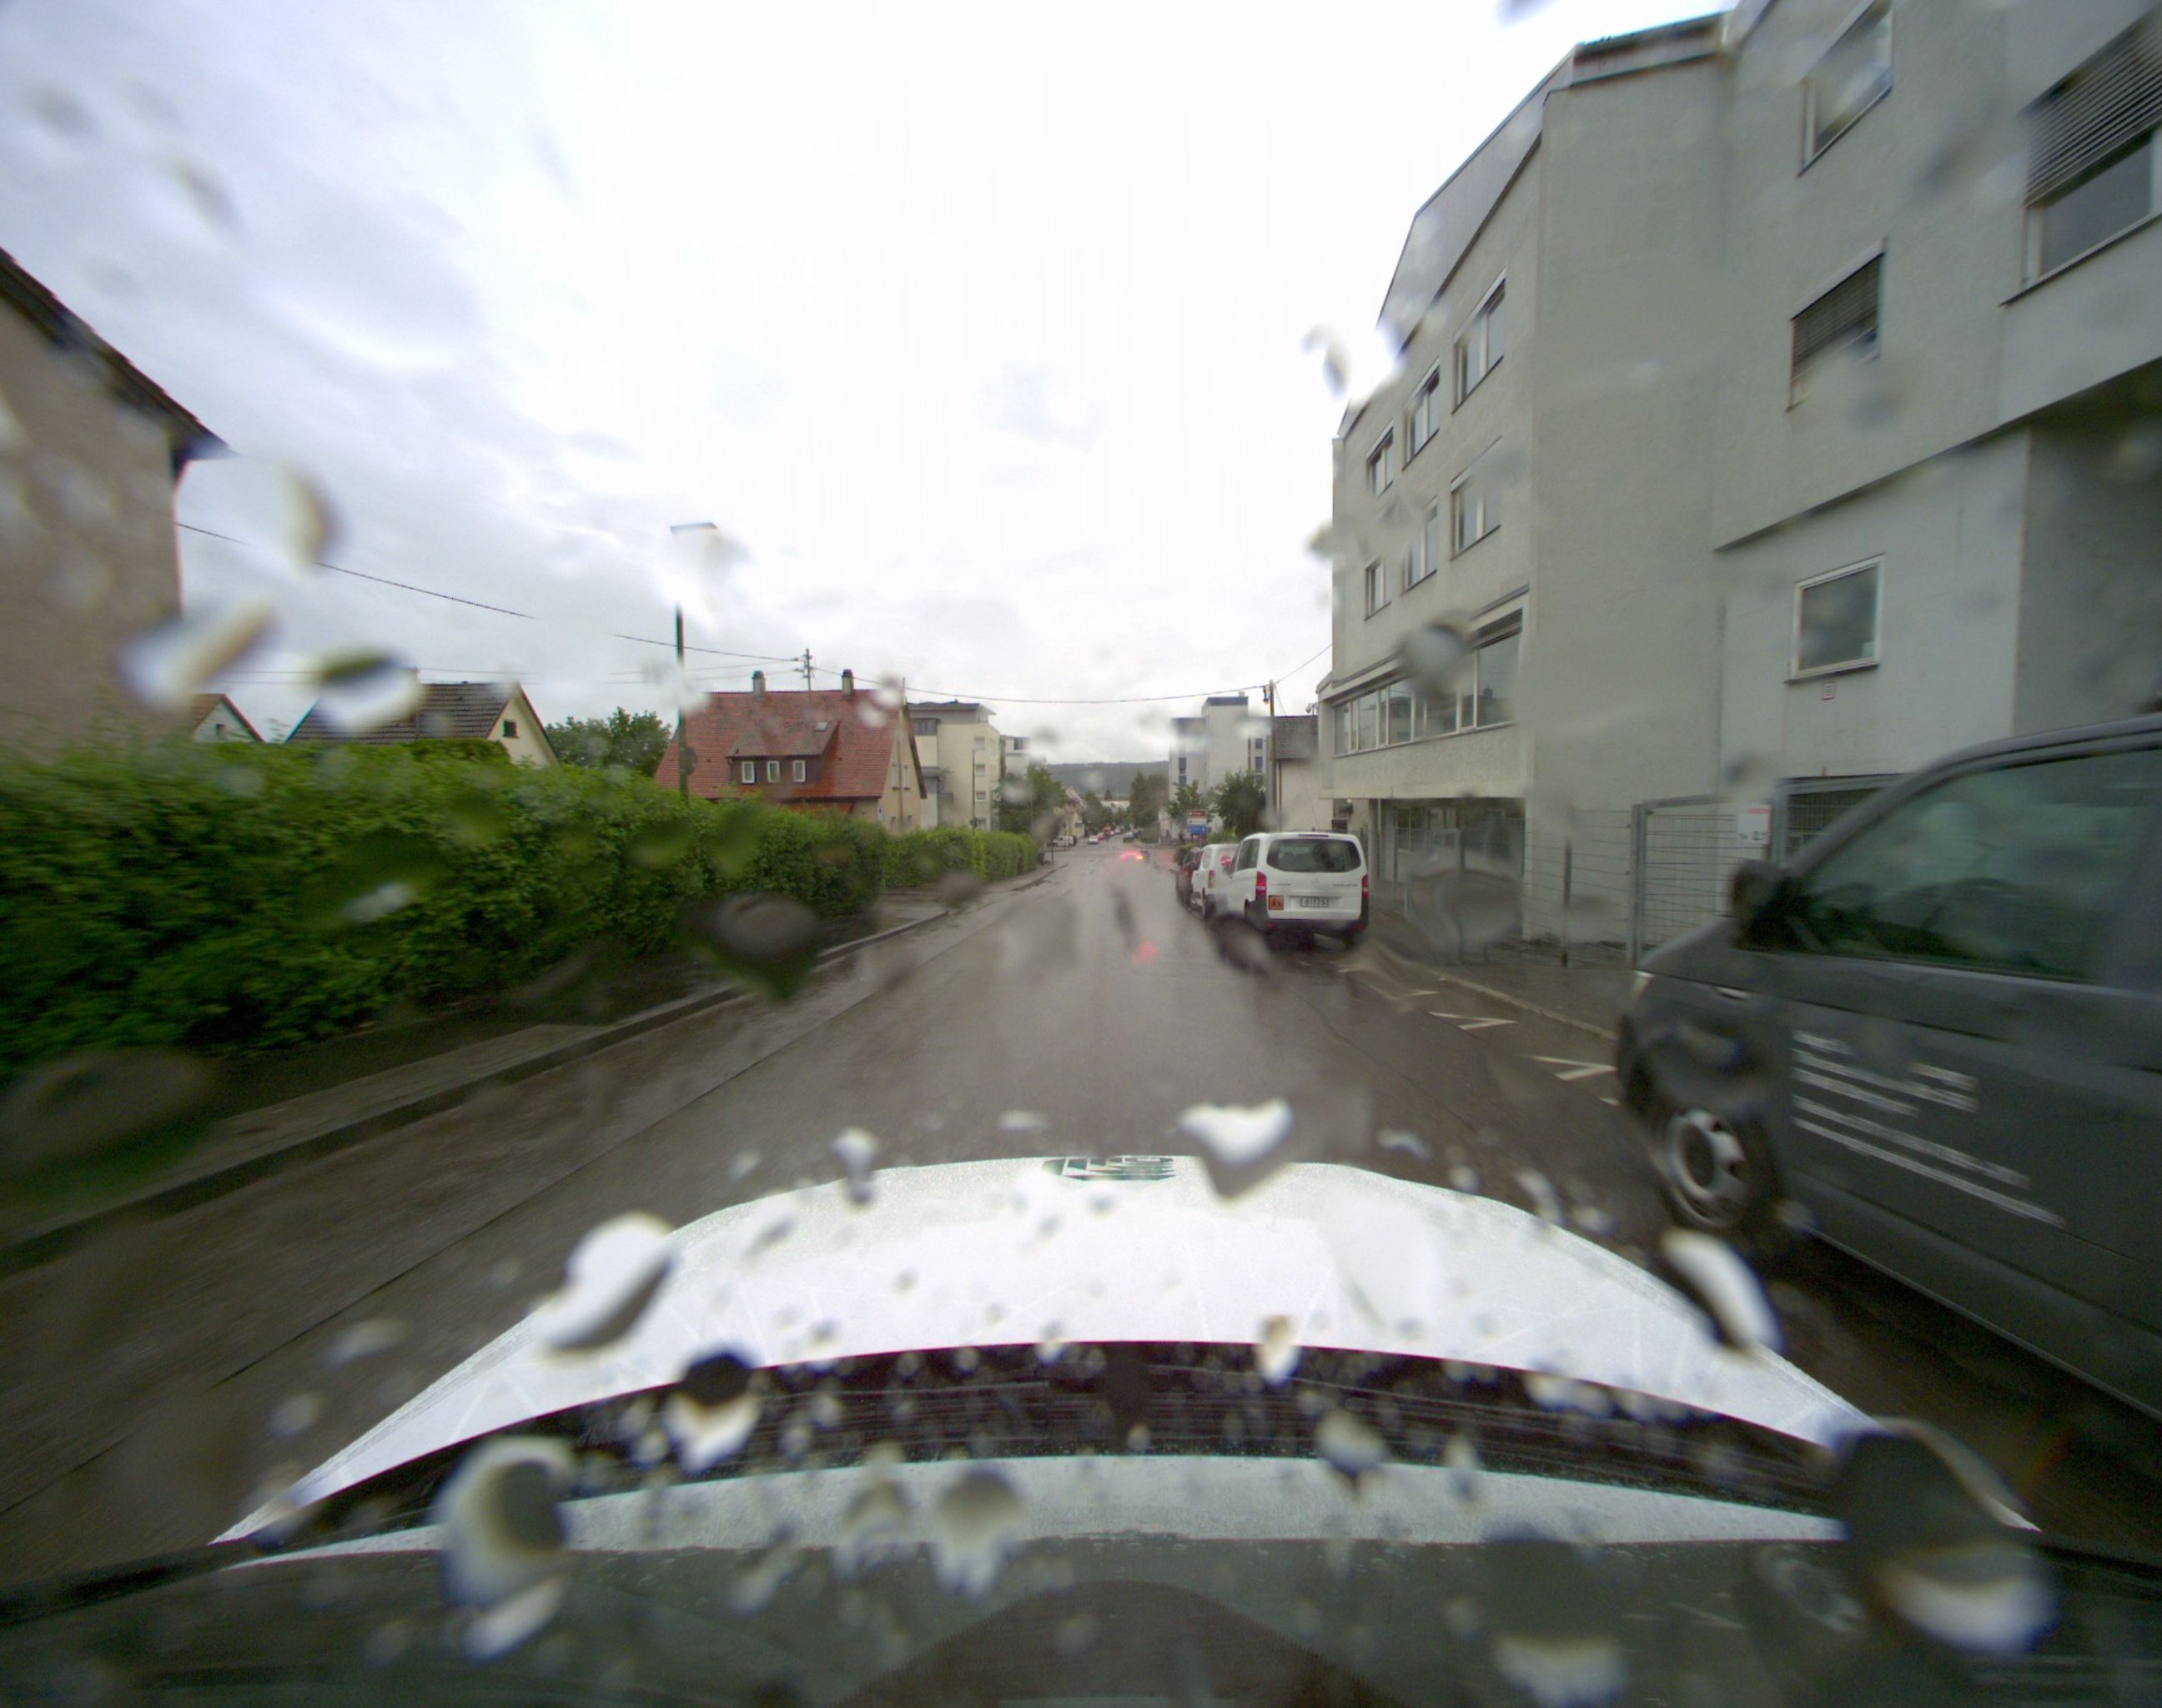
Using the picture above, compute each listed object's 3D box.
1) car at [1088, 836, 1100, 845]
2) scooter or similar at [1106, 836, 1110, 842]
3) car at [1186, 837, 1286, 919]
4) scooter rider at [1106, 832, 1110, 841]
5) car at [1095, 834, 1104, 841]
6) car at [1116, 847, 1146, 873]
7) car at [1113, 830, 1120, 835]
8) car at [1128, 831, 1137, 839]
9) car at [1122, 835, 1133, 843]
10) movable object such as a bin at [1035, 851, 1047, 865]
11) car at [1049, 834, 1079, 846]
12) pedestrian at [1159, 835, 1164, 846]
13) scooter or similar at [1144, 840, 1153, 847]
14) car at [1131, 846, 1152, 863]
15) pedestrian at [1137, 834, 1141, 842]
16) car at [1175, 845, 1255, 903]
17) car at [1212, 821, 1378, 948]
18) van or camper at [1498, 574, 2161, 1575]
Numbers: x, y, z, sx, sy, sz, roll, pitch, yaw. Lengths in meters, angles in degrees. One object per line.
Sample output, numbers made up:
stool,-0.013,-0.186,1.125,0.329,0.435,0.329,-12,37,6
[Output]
car,2.517,-2.685,157.614,1.985,1.625,4.196,-2,2,3
scooter or similar,5.746,-3.238,174.026,0.755,1.171,1.314,-2,2,-1
car,3.801,0.520,20.723,1.870,1.833,4.492,-1,0,3
scooter rider,5.721,-3.781,173.958,0.750,1.795,0.673,-2,1,-1
car,4.475,-4.000,194.042,1.893,1.558,4.196,-2,2,3
car,3.728,0.430,61.004,1.987,1.683,4.001,-2,2,1
car,10.725,-6.435,244.108,1.893,1.558,4.196,-2,2,3
car,12.227,-4.504,192.886,1.893,1.745,4.196,-2,2,3
car,9.792,-3.224,171.152,2.137,1.589,4.132,-2,2,3
movable object such as a bin,-3.773,0.356,77.472,1.068,1.347,1.319,1,0,0
car,-2.862,-2.363,137.958,4.866,1.835,1.978,-3,2,-36
pedestrian,12.732,-2.107,129.248,0.646,1.647,0.525,1,1,-4
scooter or similar,10.646,-1.682,127.977,1.265,1.081,0.876,-2,2,-2
car,6.412,0.037,86.751,1.987,1.683,4.001,-2,2,1
pedestrian,12.742,-3.518,179.932,0.744,1.848,0.525,-1,2,-4
car,4.165,0.557,26.090,1.985,1.644,4.962,-1,0,3
car,3.707,0.451,15.086,1.985,1.935,4.980,-1,0,3
van or camper,3.265,0.443,1.936,1.986,2.113,5.205,-2,1,2
